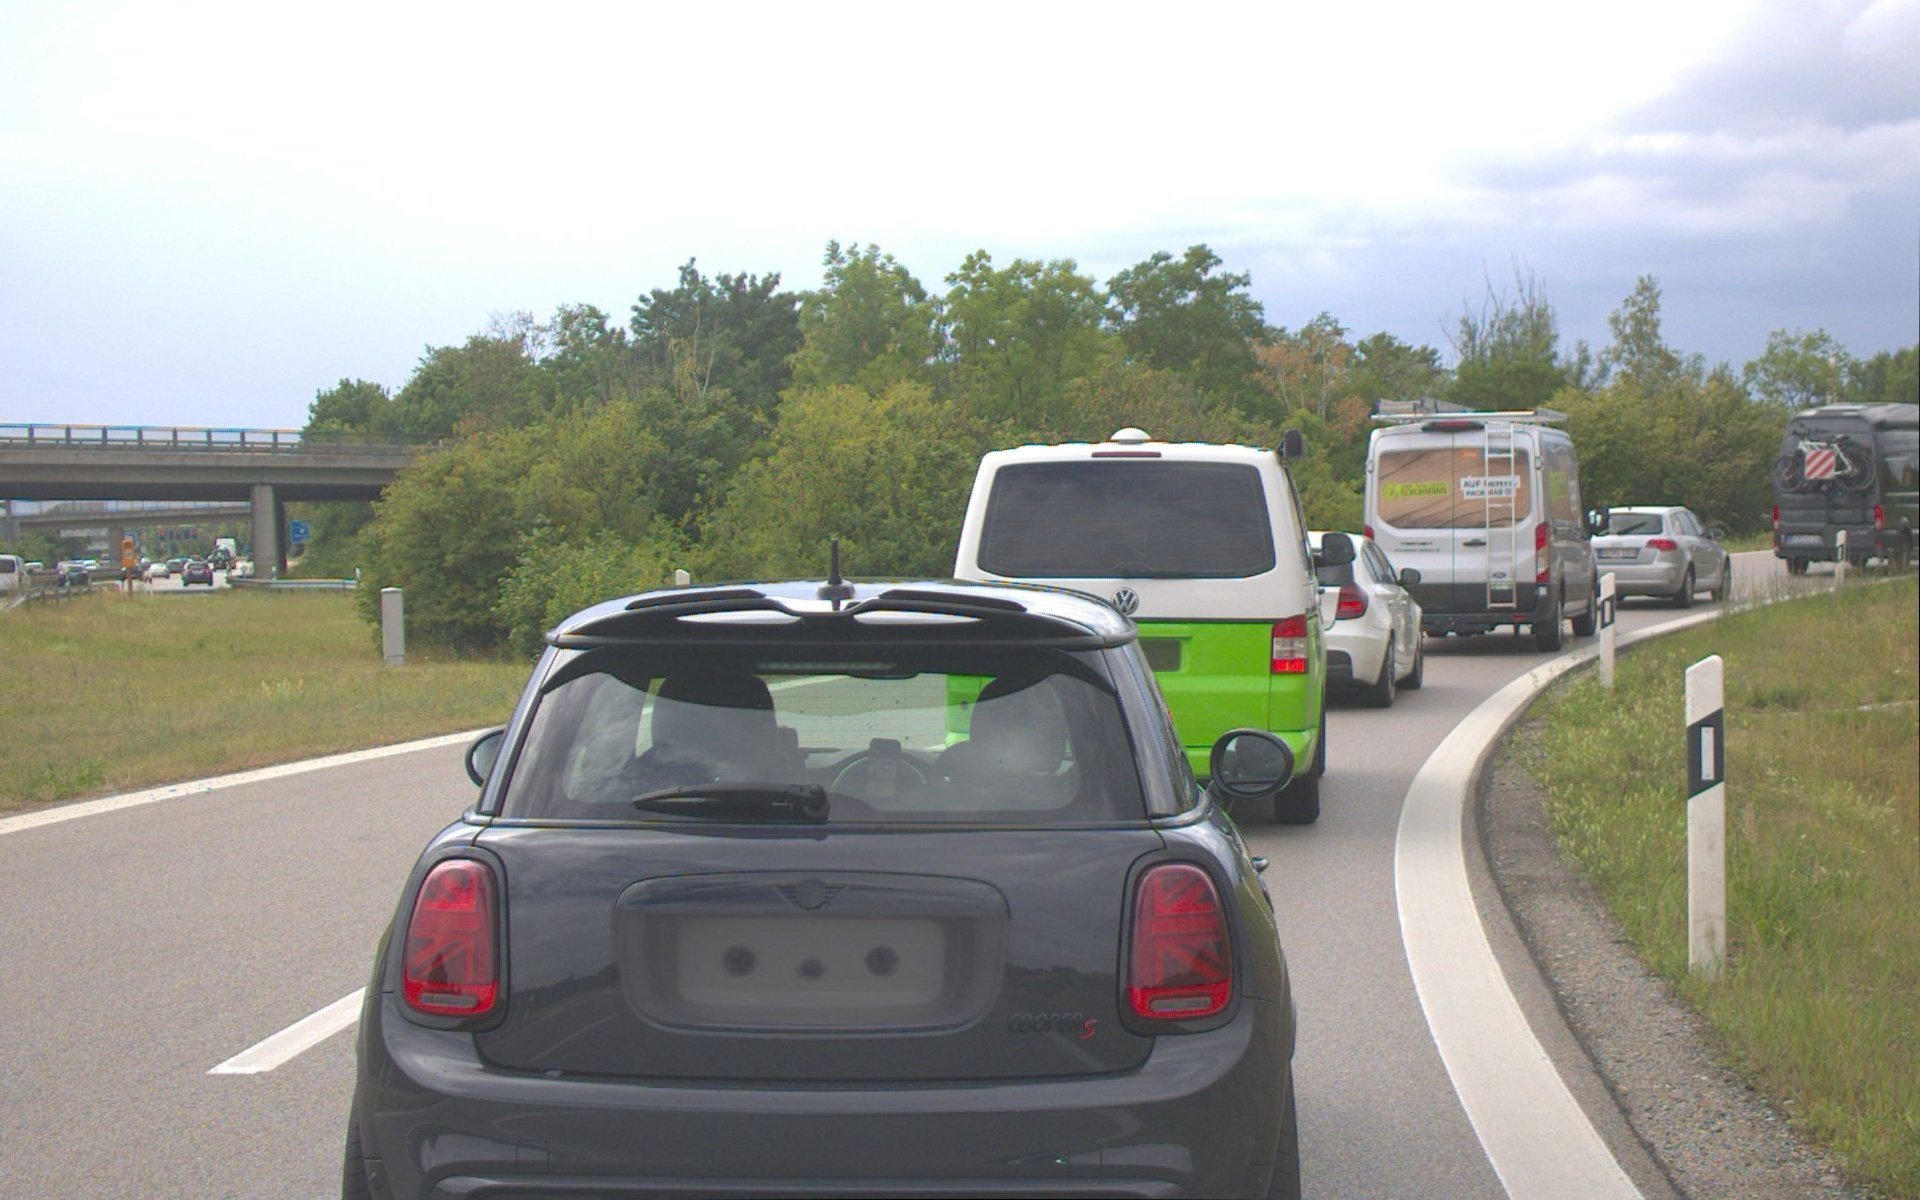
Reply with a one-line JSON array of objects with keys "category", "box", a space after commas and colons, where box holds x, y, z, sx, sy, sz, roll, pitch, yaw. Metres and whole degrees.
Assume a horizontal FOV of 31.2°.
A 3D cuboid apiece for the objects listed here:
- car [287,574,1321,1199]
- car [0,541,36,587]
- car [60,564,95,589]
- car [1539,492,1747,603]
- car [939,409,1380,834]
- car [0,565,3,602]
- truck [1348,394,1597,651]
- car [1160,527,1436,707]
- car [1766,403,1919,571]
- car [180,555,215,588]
[{"category": "car", "box": [-0.297, 0.661, 7.614, 1.727, 1.409, 3.725, 0, 1, -1]}, {"category": "car", "box": [-37.268, -1.417, 134.161, 1.876, 1.745, 4.488, -1, 1, -10]}, {"category": "car", "box": [-53.121, -1.421, 206.959, 1.721, 1.419, 4.799, -1, 1, -10]}, {"category": "car", "box": [9.753, -0.745, 48.884, 1.869, 1.504, 3.994, 0, 1, 27]}, {"category": "car", "box": [1.181, 0.066, 18.383, 1.785, 2.007, 3.998, 0, 1, 12]}, {"category": "car", "box": [-46.419, -0.749, 162.095, 1.993, 1.779, 5.413, -1, 1, -10]}, {"category": "truck", "box": [5.784, -0.874, 38.278, 2.180, 2.649, 5.105, 0, 2, 15]}, {"category": "car", "box": [2.882, 0.105, 28.659, 1.763, 1.394, 3.723, 0, 1, 14]}, {"category": "car", "box": [15.376, -1.922, 59.208, 2.108, 2.787, 3.995, 1, 1, 25]}, {"category": "car", "box": [-46.626, -1.745, 210.279, 1.993, 2.007, 4.001, 1, 0, -12]}]
